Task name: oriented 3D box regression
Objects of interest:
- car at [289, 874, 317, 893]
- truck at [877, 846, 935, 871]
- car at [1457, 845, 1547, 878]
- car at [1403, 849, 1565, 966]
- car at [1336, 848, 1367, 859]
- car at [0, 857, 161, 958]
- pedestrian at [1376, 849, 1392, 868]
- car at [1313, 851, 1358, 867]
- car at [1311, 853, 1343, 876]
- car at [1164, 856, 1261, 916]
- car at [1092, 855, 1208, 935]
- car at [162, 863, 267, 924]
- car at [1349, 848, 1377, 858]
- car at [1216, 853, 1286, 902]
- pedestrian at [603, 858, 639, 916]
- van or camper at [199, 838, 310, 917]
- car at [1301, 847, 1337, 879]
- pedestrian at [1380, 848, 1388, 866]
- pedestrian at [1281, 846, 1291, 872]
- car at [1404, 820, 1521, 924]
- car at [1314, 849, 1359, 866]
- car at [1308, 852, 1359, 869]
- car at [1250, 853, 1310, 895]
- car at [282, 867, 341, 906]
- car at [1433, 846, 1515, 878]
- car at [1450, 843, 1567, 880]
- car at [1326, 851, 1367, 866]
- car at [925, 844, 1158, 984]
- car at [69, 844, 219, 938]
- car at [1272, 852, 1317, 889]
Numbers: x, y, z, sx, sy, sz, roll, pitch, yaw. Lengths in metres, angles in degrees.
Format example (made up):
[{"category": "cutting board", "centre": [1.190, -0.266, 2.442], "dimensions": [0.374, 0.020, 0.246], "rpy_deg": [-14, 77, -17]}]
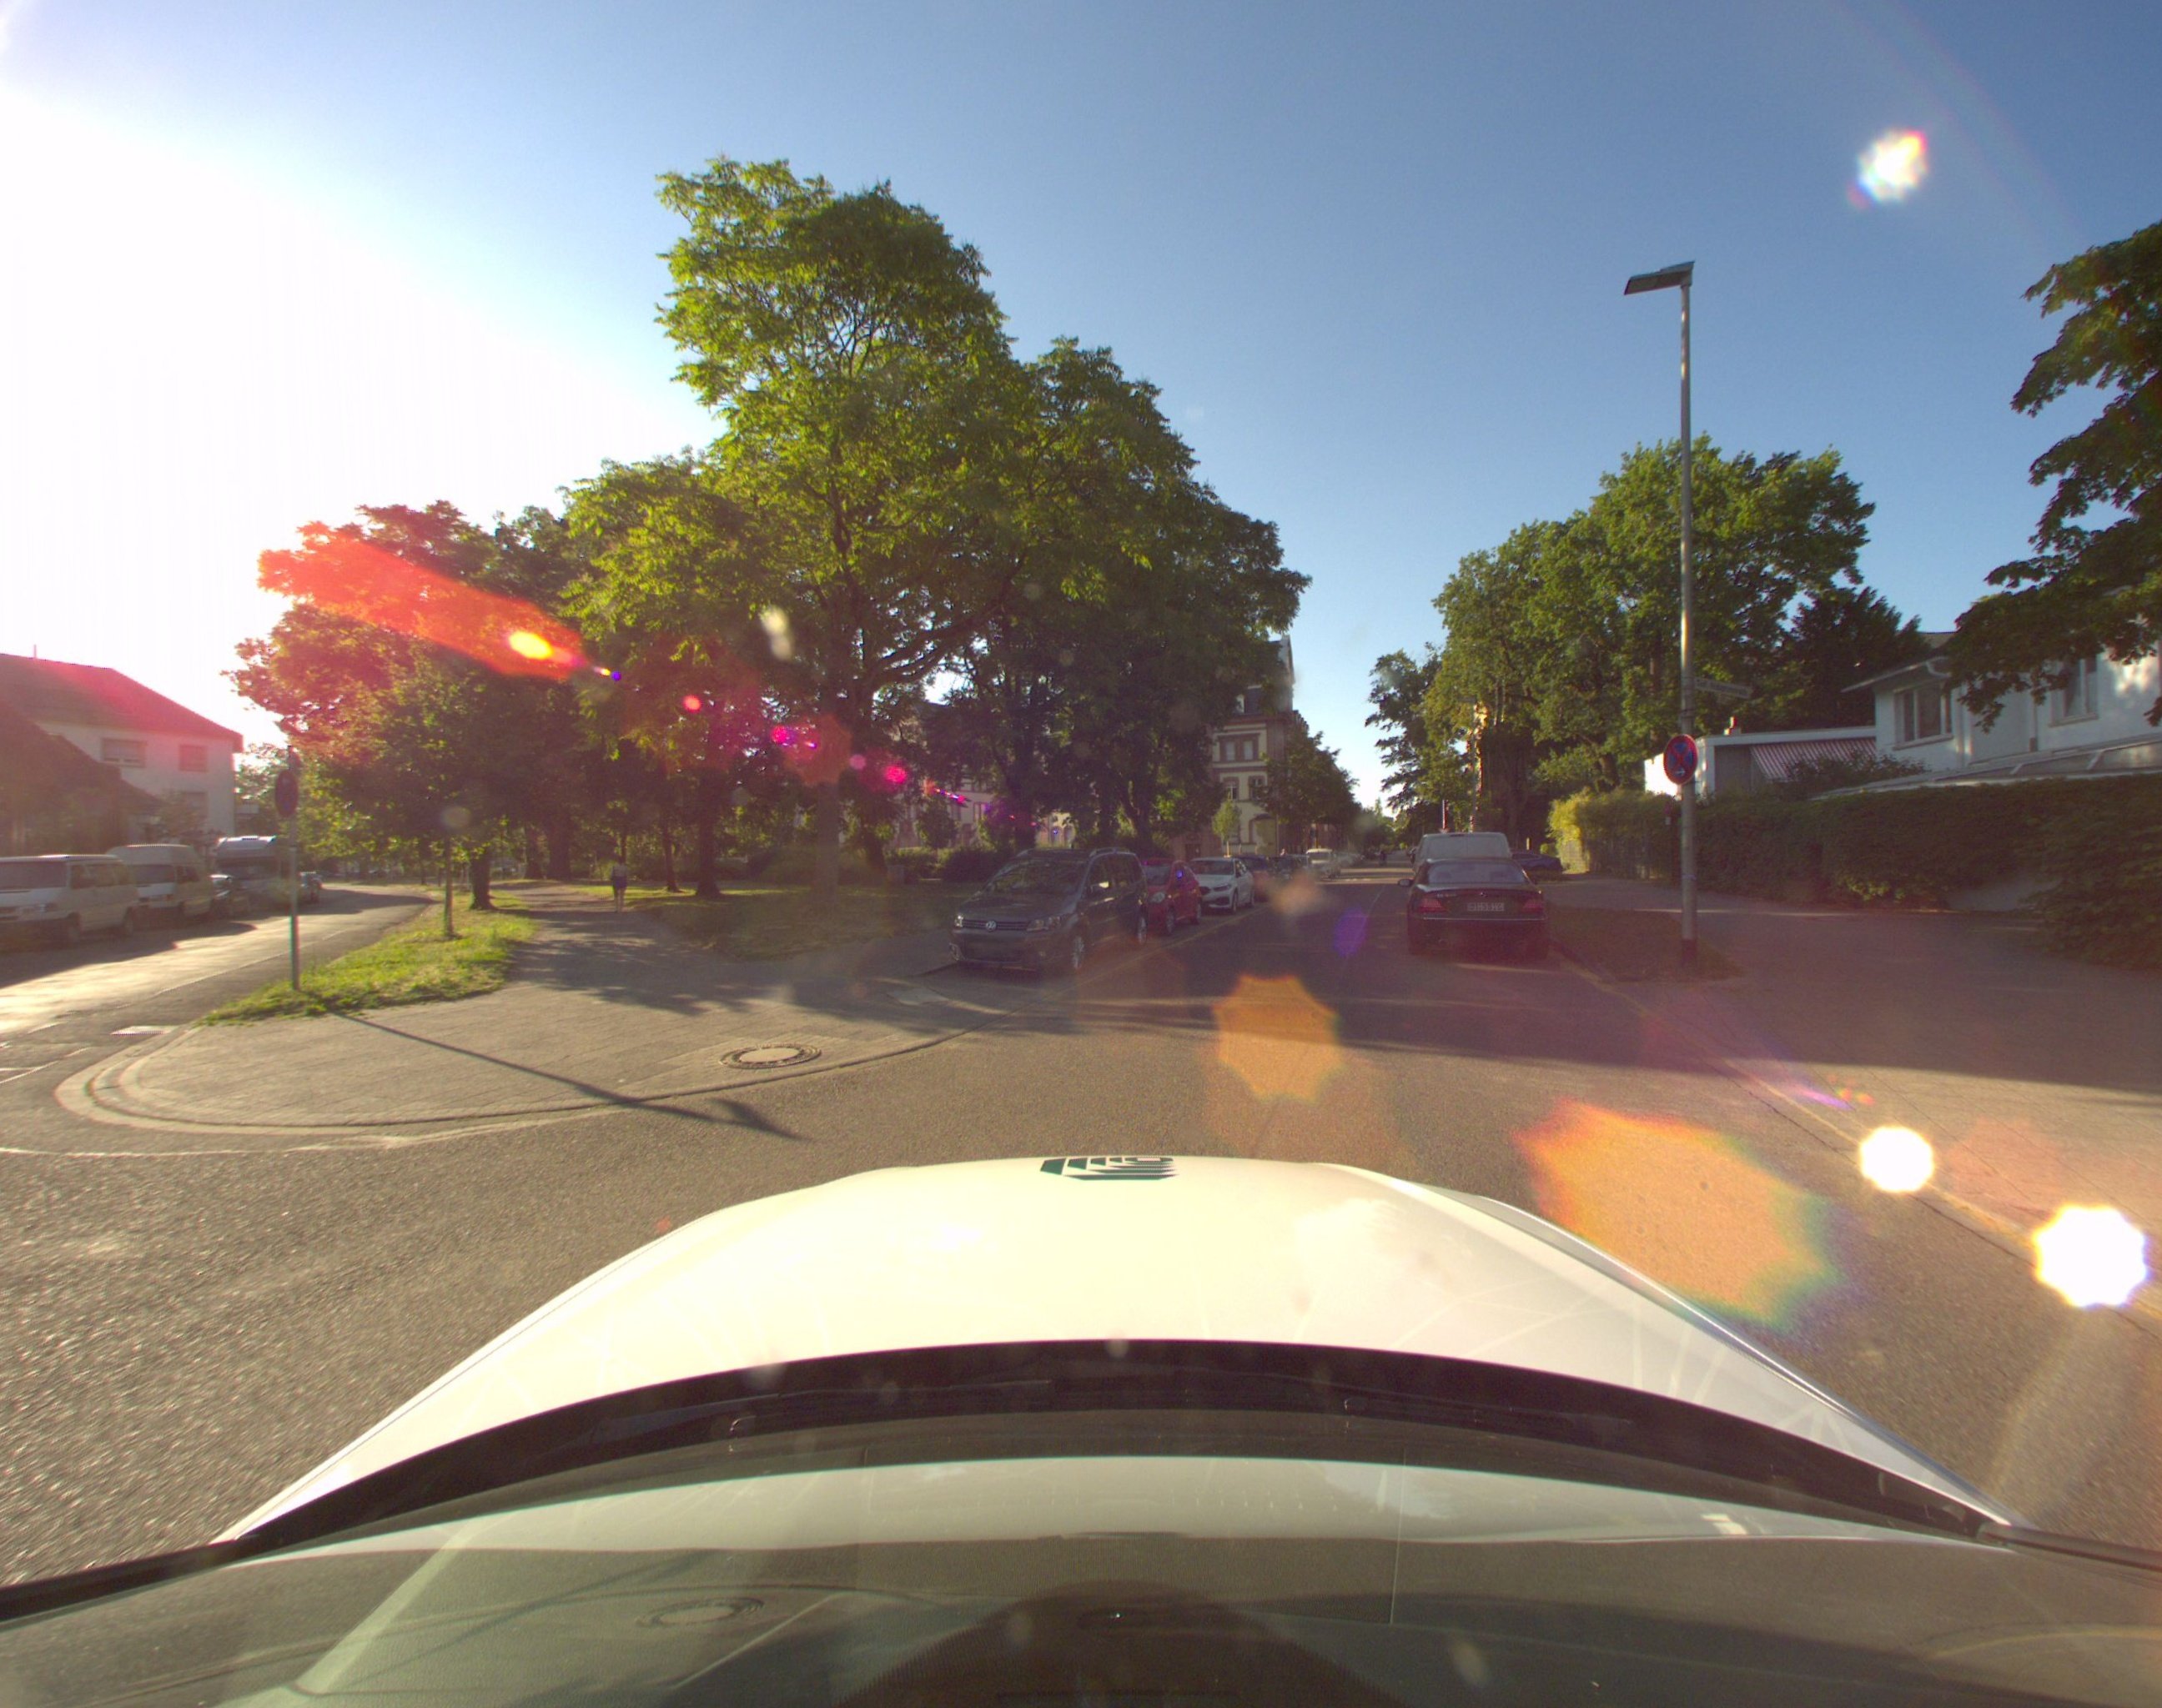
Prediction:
[{"category": "car", "centre": [-64.031, 2.402, 66.996], "dimensions": [3.363, 1.447, 1.524], "rpy_deg": [-1, 0, 44]}, {"category": "truck", "centre": [-22.352, 0.628, 103.920], "dimensions": [7.905, 3.029, 2.629], "rpy_deg": [-1, 0, 37]}, {"category": "car", "centre": [20.367, 0.367, 39.558], "dimensions": [3.651, 1.524, 1.800], "rpy_deg": [-1, 0, 18]}, {"category": "car", "centre": [6.069, 0.670, 12.779], "dimensions": [1.750, 1.468, 4.890], "rpy_deg": [-1, 0, 20]}, {"category": "car", "centre": [41.714, -0.049, 125.719], "dimensions": [4.445, 1.608, 1.851], "rpy_deg": [-1, 0, 19]}, {"category": "car", "centre": [-22.349, 1.062, 17.708], "dimensions": [1.864, 1.946, 4.790], "rpy_deg": [-1, 0, -33]}, {"category": "pedestrian", "centre": [29.663, 0.410, 79.759], "dimensions": [1.060, 1.858, 0.999], "rpy_deg": [-1, 0, -10]}, {"category": "car", "centre": [27.492, 0.539, 87.960], "dimensions": [4.445, 1.717, 1.851], "rpy_deg": [-1, 0, 19]}, {"category": "car", "centre": [17.425, 0.717, 57.561], "dimensions": [1.765, 1.505, 4.577], "rpy_deg": [-1, 0, 22]}, {"category": "car", "centre": [3.654, 0.780, 22.036], "dimensions": [1.675, 1.406, 3.996], "rpy_deg": [1, 1, 23]}, {"category": "car", "centre": [1.512, 0.762, 16.802], "dimensions": [1.375, 1.423, 3.445], "rpy_deg": [1, 1, 23]}, {"category": "car", "centre": [-29.441, 1.282, 27.814], "dimensions": [1.866, 1.886, 4.096], "rpy_deg": [-1, 0, -39]}, {"category": "car", "centre": [47.944, -0.142, 138.625], "dimensions": [4.445, 1.608, 1.851], "rpy_deg": [-1, 0, 19]}, {"category": "car", "centre": [5.826, 0.724, 27.570], "dimensions": [1.624, 1.495, 3.725], "rpy_deg": [1, 1, 23]}, {"category": "pedestrian", "centre": [-13.040, 0.919, 23.129], "dimensions": [0.776, 1.574, 0.762], "rpy_deg": [-1, 0, -23]}, {"category": "van or camper", "centre": [-33.580, 0.895, 33.296], "dimensions": [2.106, 2.908, 6.263], "rpy_deg": [-1, 0, -35]}, {"category": "car", "centre": [14.701, 0.536, 50.169], "dimensions": [1.766, 1.841, 4.576], "rpy_deg": [-1, 0, 21]}, {"category": "pedestrian", "centre": [33.196, 0.365, 89.267], "dimensions": [0.711, 1.962, 0.792], "rpy_deg": [-1, -2, 26]}, {"category": "pedestrian", "centre": [14.268, 0.366, 56.690], "dimensions": [0.594, 1.784, 0.951], "rpy_deg": [-1, 0, 18]}, {"category": "car", "centre": [8.422, 0.352, 18.396], "dimensions": [1.936, 2.013, 5.179], "rpy_deg": [-1, 0, 20]}, {"category": "car", "centre": [26.933, 0.366, 85.841], "dimensions": [4.445, 1.717, 1.851], "rpy_deg": [-1, 0, 19]}, {"category": "car", "centre": [25.304, 0.626, 81.582], "dimensions": [4.802, 1.594, 1.851], "rpy_deg": [-1, 0, 19]}, {"category": "car", "centre": [7.935, 0.752, 32.247], "dimensions": [1.537, 1.494, 3.965], "rpy_deg": [-1, 0, 25]}, {"category": "car", "centre": [-39.986, 1.646, 42.375], "dimensions": [1.866, 1.886, 4.096], "rpy_deg": [-1, 0, -39]}, {"category": "car", "centre": [20.269, 0.415, 42.092], "dimensions": [3.470, 1.584, 1.768], "rpy_deg": [-1, 0, 12]}, {"category": "car", "centre": [19.411, 0.374, 37.224], "dimensions": [4.548, 1.415, 1.933], "rpy_deg": [-3, -2, 23]}, {"category": "car", "centre": [30.376, 0.503, 93.208], "dimensions": [4.445, 1.608, 1.851], "rpy_deg": [-1, 0, 19]}, {"category": "car", "centre": [-0.354, 0.714, 12.223], "dimensions": [1.786, 1.675, 4.344], "rpy_deg": [1, 1, 23]}, {"category": "car", "centre": [-26.321, 0.957, 23.085], "dimensions": [1.866, 2.356, 5.126], "rpy_deg": [-1, 0, -38]}, {"category": "car", "centre": [9.734, 0.714, 36.961], "dimensions": [1.578, 1.526, 3.885], "rpy_deg": [-1, 0, 21]}]
